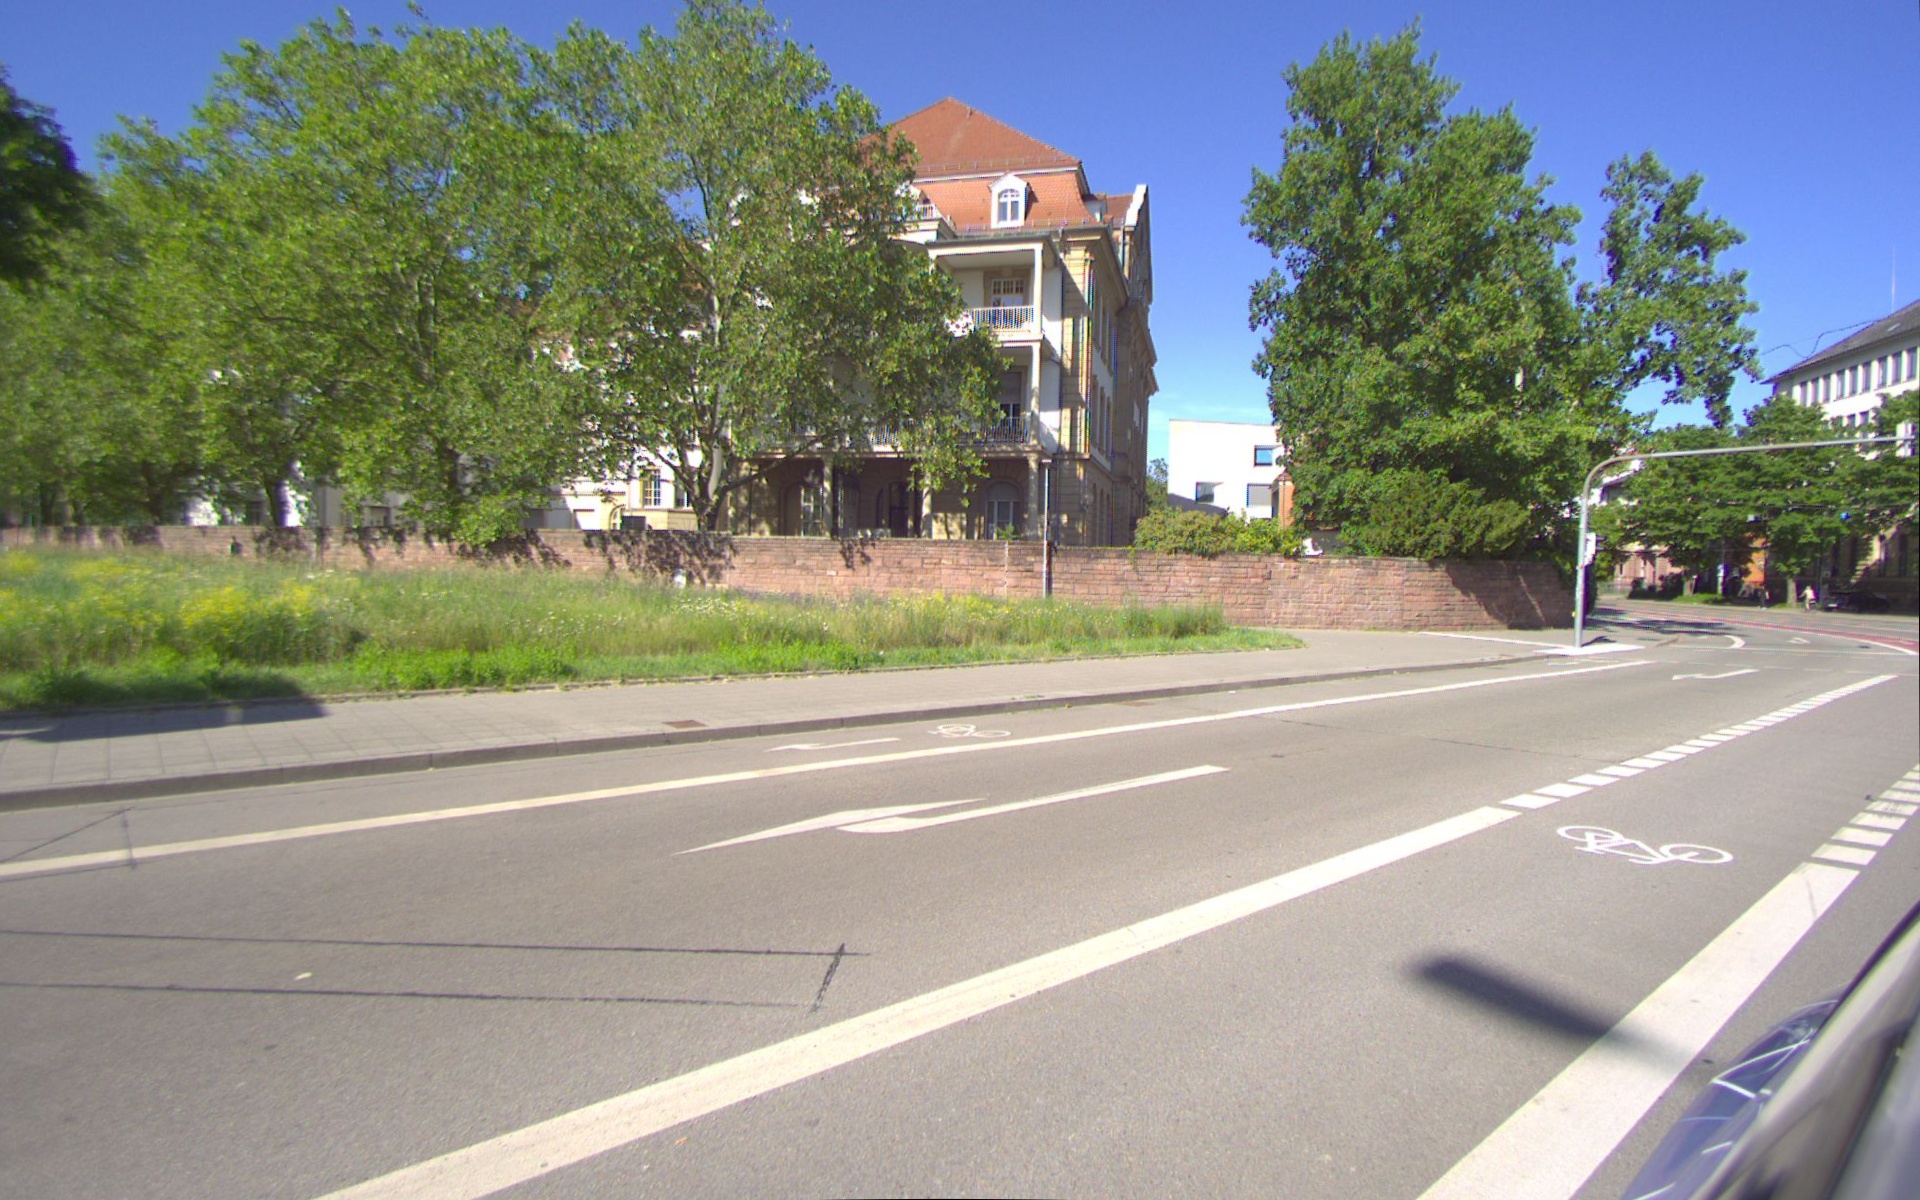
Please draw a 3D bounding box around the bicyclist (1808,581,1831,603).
[{"bbox_3d":[56.272,-0.555,66.249,0.720,1.402,0.895,1,2,3],"label":"bicyclist"}]

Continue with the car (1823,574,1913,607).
[{"bbox_3d":[61.216,-0.650,68.251,4.615,2.038,2.004,1,2,-9],"label":"car"}]

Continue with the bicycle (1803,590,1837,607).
[{"bbox_3d":[56.263,-0.098,66.241,0.720,1.003,1.834,1,2,3],"label":"bicycle"}]

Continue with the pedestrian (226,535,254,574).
[{"bbox_3d":[-27.472,-1.731,38.630,0.516,1.461,0.721,0,0,20],"label":"pedestrian"}]

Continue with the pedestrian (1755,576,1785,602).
[{"bbox_3d":[59.348,-0.815,74.133,1.366,1.844,0.937,1,1,4],"label":"pedestrian"}]
